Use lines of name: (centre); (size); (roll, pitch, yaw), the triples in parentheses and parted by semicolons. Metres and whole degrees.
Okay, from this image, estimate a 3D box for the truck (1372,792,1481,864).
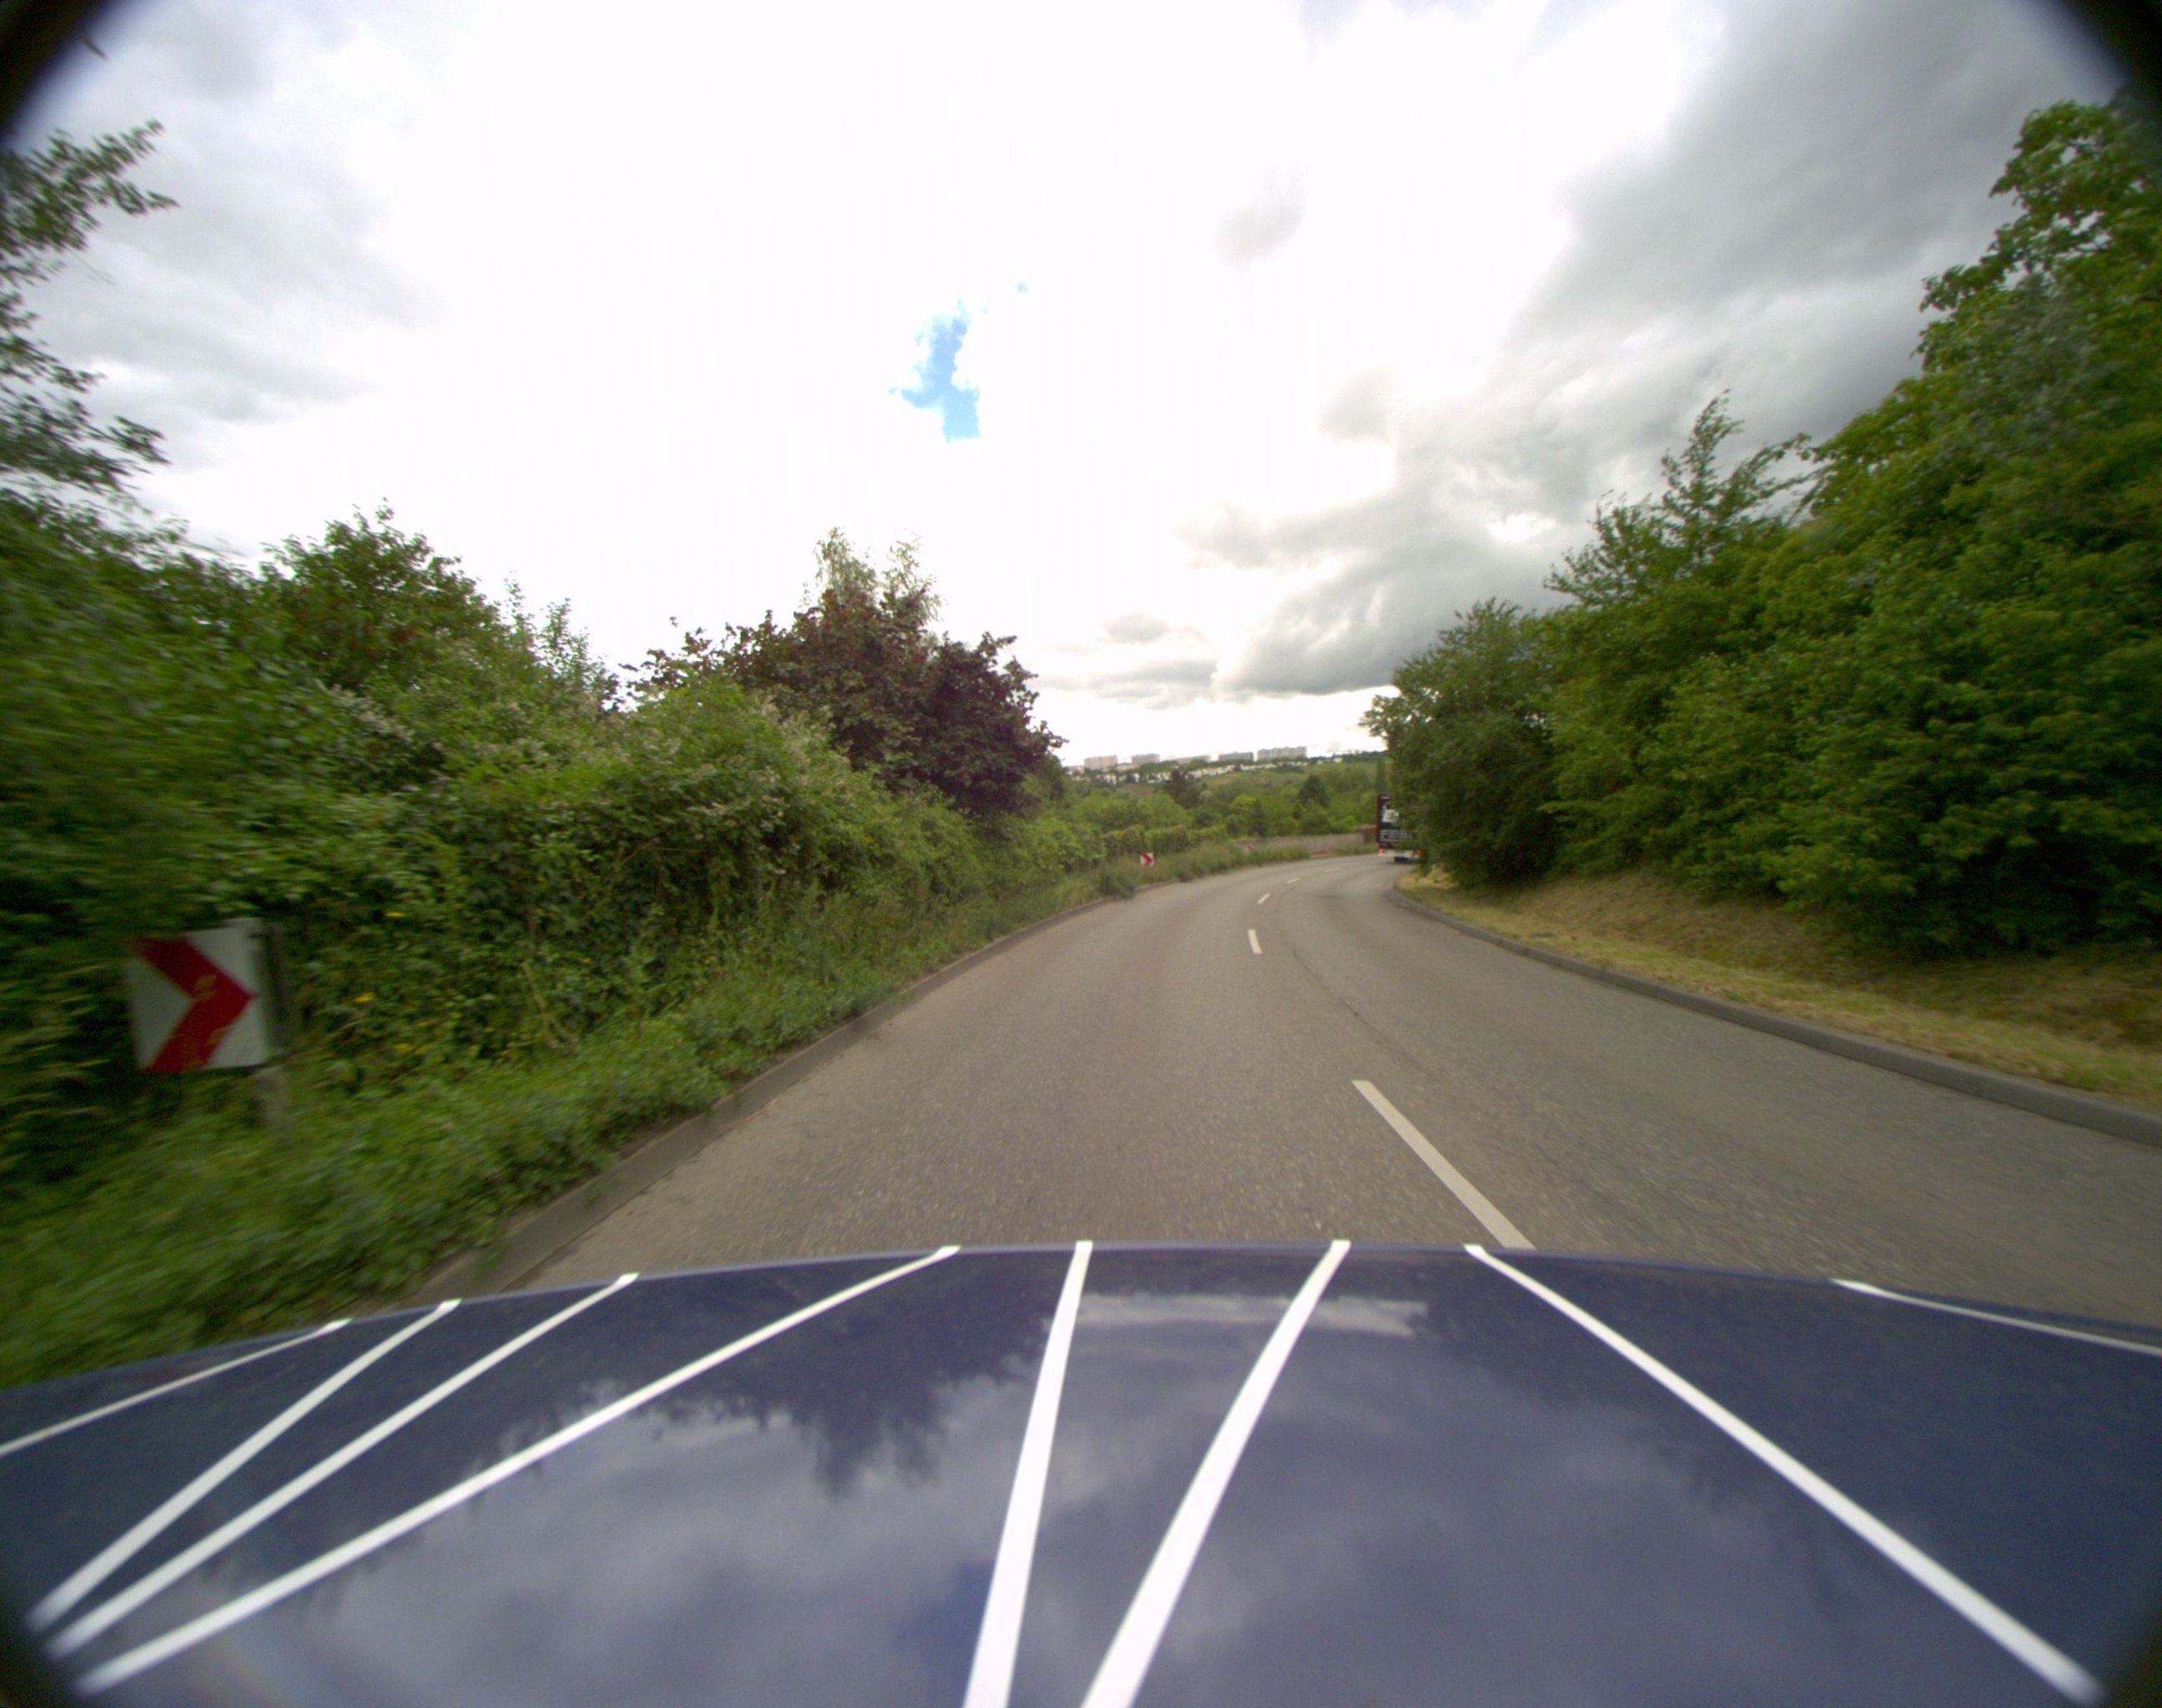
truck: (21.894, -1.779, 47.483); (2.704, 3.930, 13.859); (4, 5, 39)
